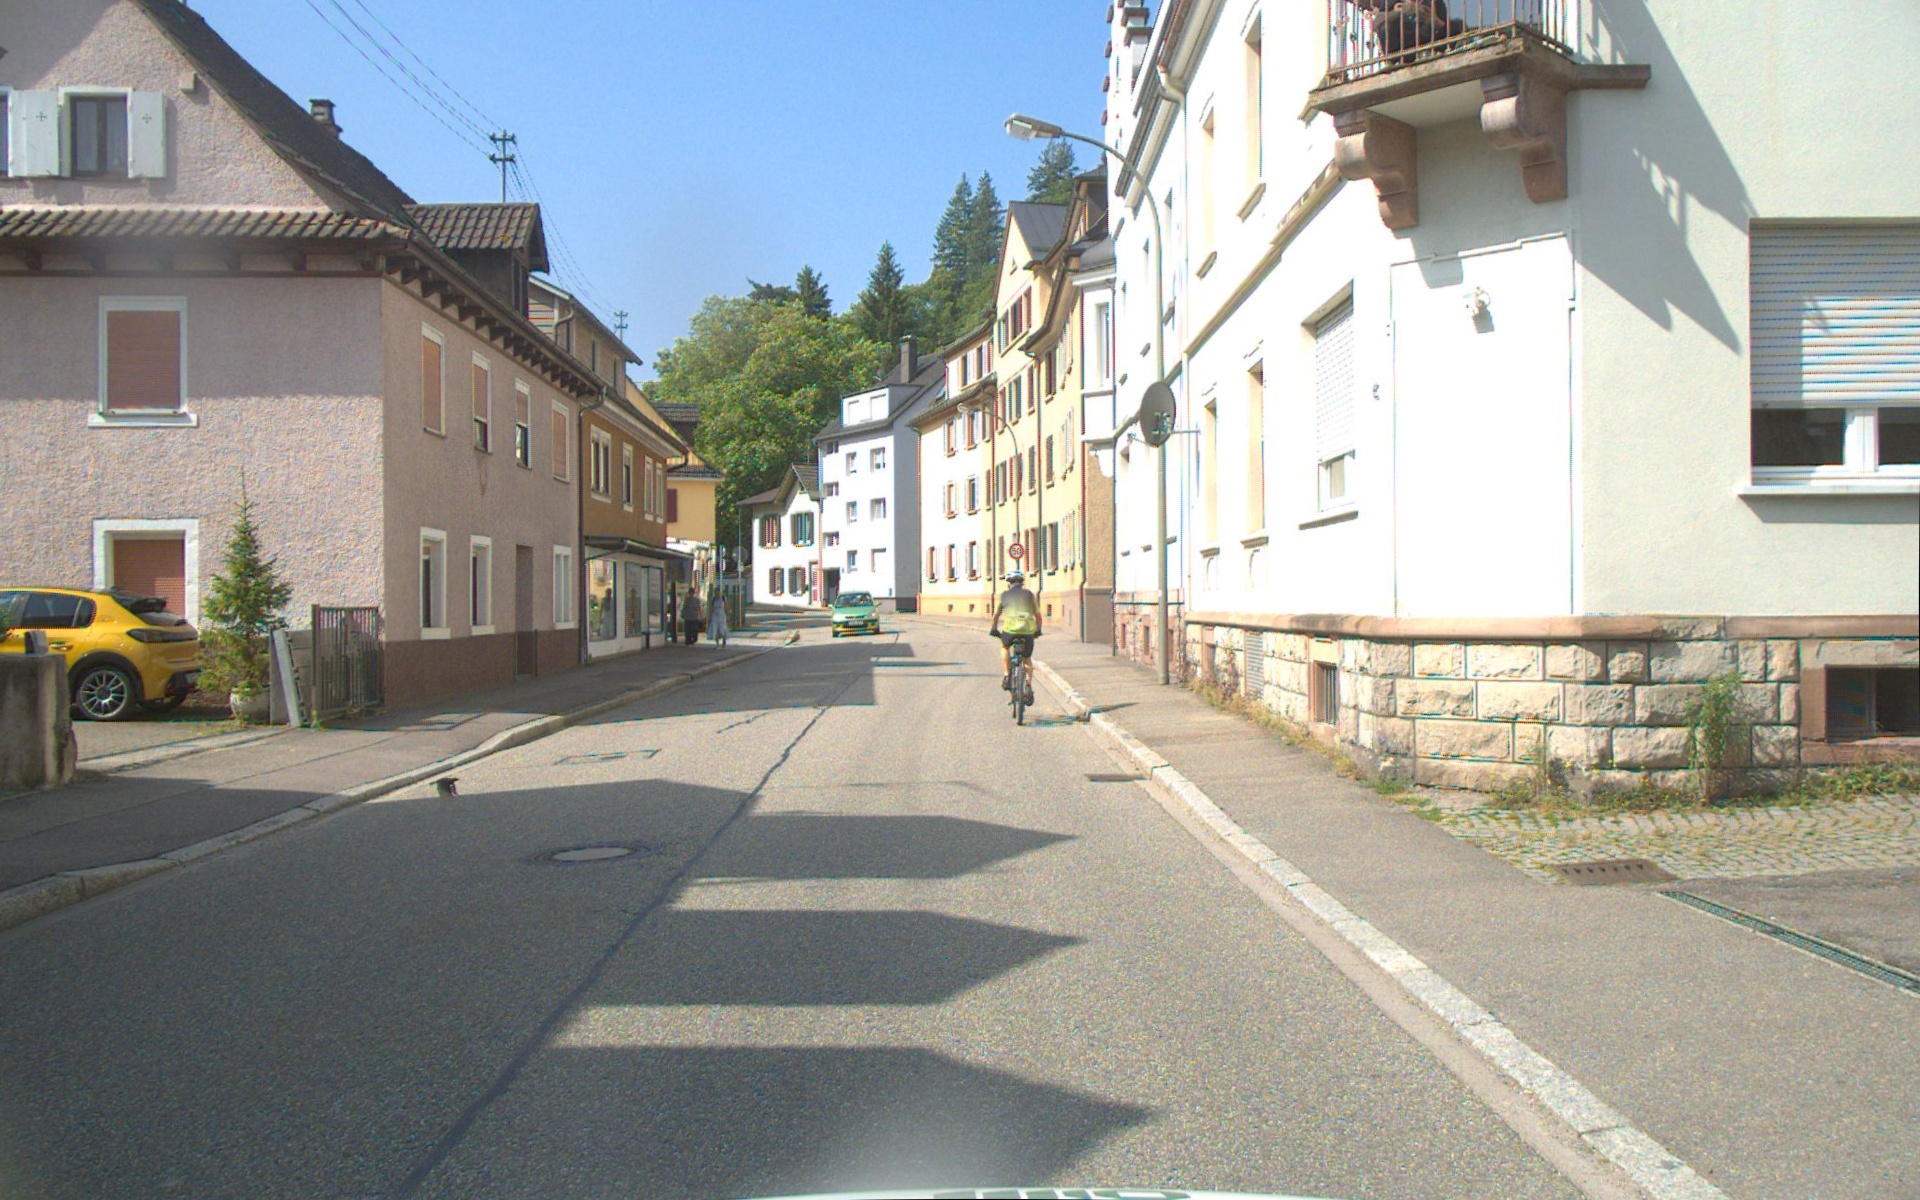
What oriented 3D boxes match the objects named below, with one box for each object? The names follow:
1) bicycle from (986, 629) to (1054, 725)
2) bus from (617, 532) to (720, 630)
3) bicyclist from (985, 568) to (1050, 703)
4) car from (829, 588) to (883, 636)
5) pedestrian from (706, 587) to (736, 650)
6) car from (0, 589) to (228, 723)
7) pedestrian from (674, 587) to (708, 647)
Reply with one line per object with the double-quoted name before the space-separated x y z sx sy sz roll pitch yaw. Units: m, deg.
"bicycle" 0.695 0.889 19.625 0.684 1.053 1.470 0 1 -3
"bus" -10.570 -0.686 60.856 2.765 3.284 9.028 1 0 -4
"bicyclist" 0.674 0.416 19.618 0.672 1.558 0.715 -1 0 -3
"car" -3.517 0.376 56.258 1.564 1.490 3.659 -4 0 -1
"pedestrian" -6.438 0.483 44.612 0.626 1.654 0.777 2 0 -1
"car" -10.557 0.601 18.850 3.677 1.417 1.644 1 1 -5
"pedestrian" -7.251 0.449 44.608 0.720 1.592 0.824 2 0 -1
